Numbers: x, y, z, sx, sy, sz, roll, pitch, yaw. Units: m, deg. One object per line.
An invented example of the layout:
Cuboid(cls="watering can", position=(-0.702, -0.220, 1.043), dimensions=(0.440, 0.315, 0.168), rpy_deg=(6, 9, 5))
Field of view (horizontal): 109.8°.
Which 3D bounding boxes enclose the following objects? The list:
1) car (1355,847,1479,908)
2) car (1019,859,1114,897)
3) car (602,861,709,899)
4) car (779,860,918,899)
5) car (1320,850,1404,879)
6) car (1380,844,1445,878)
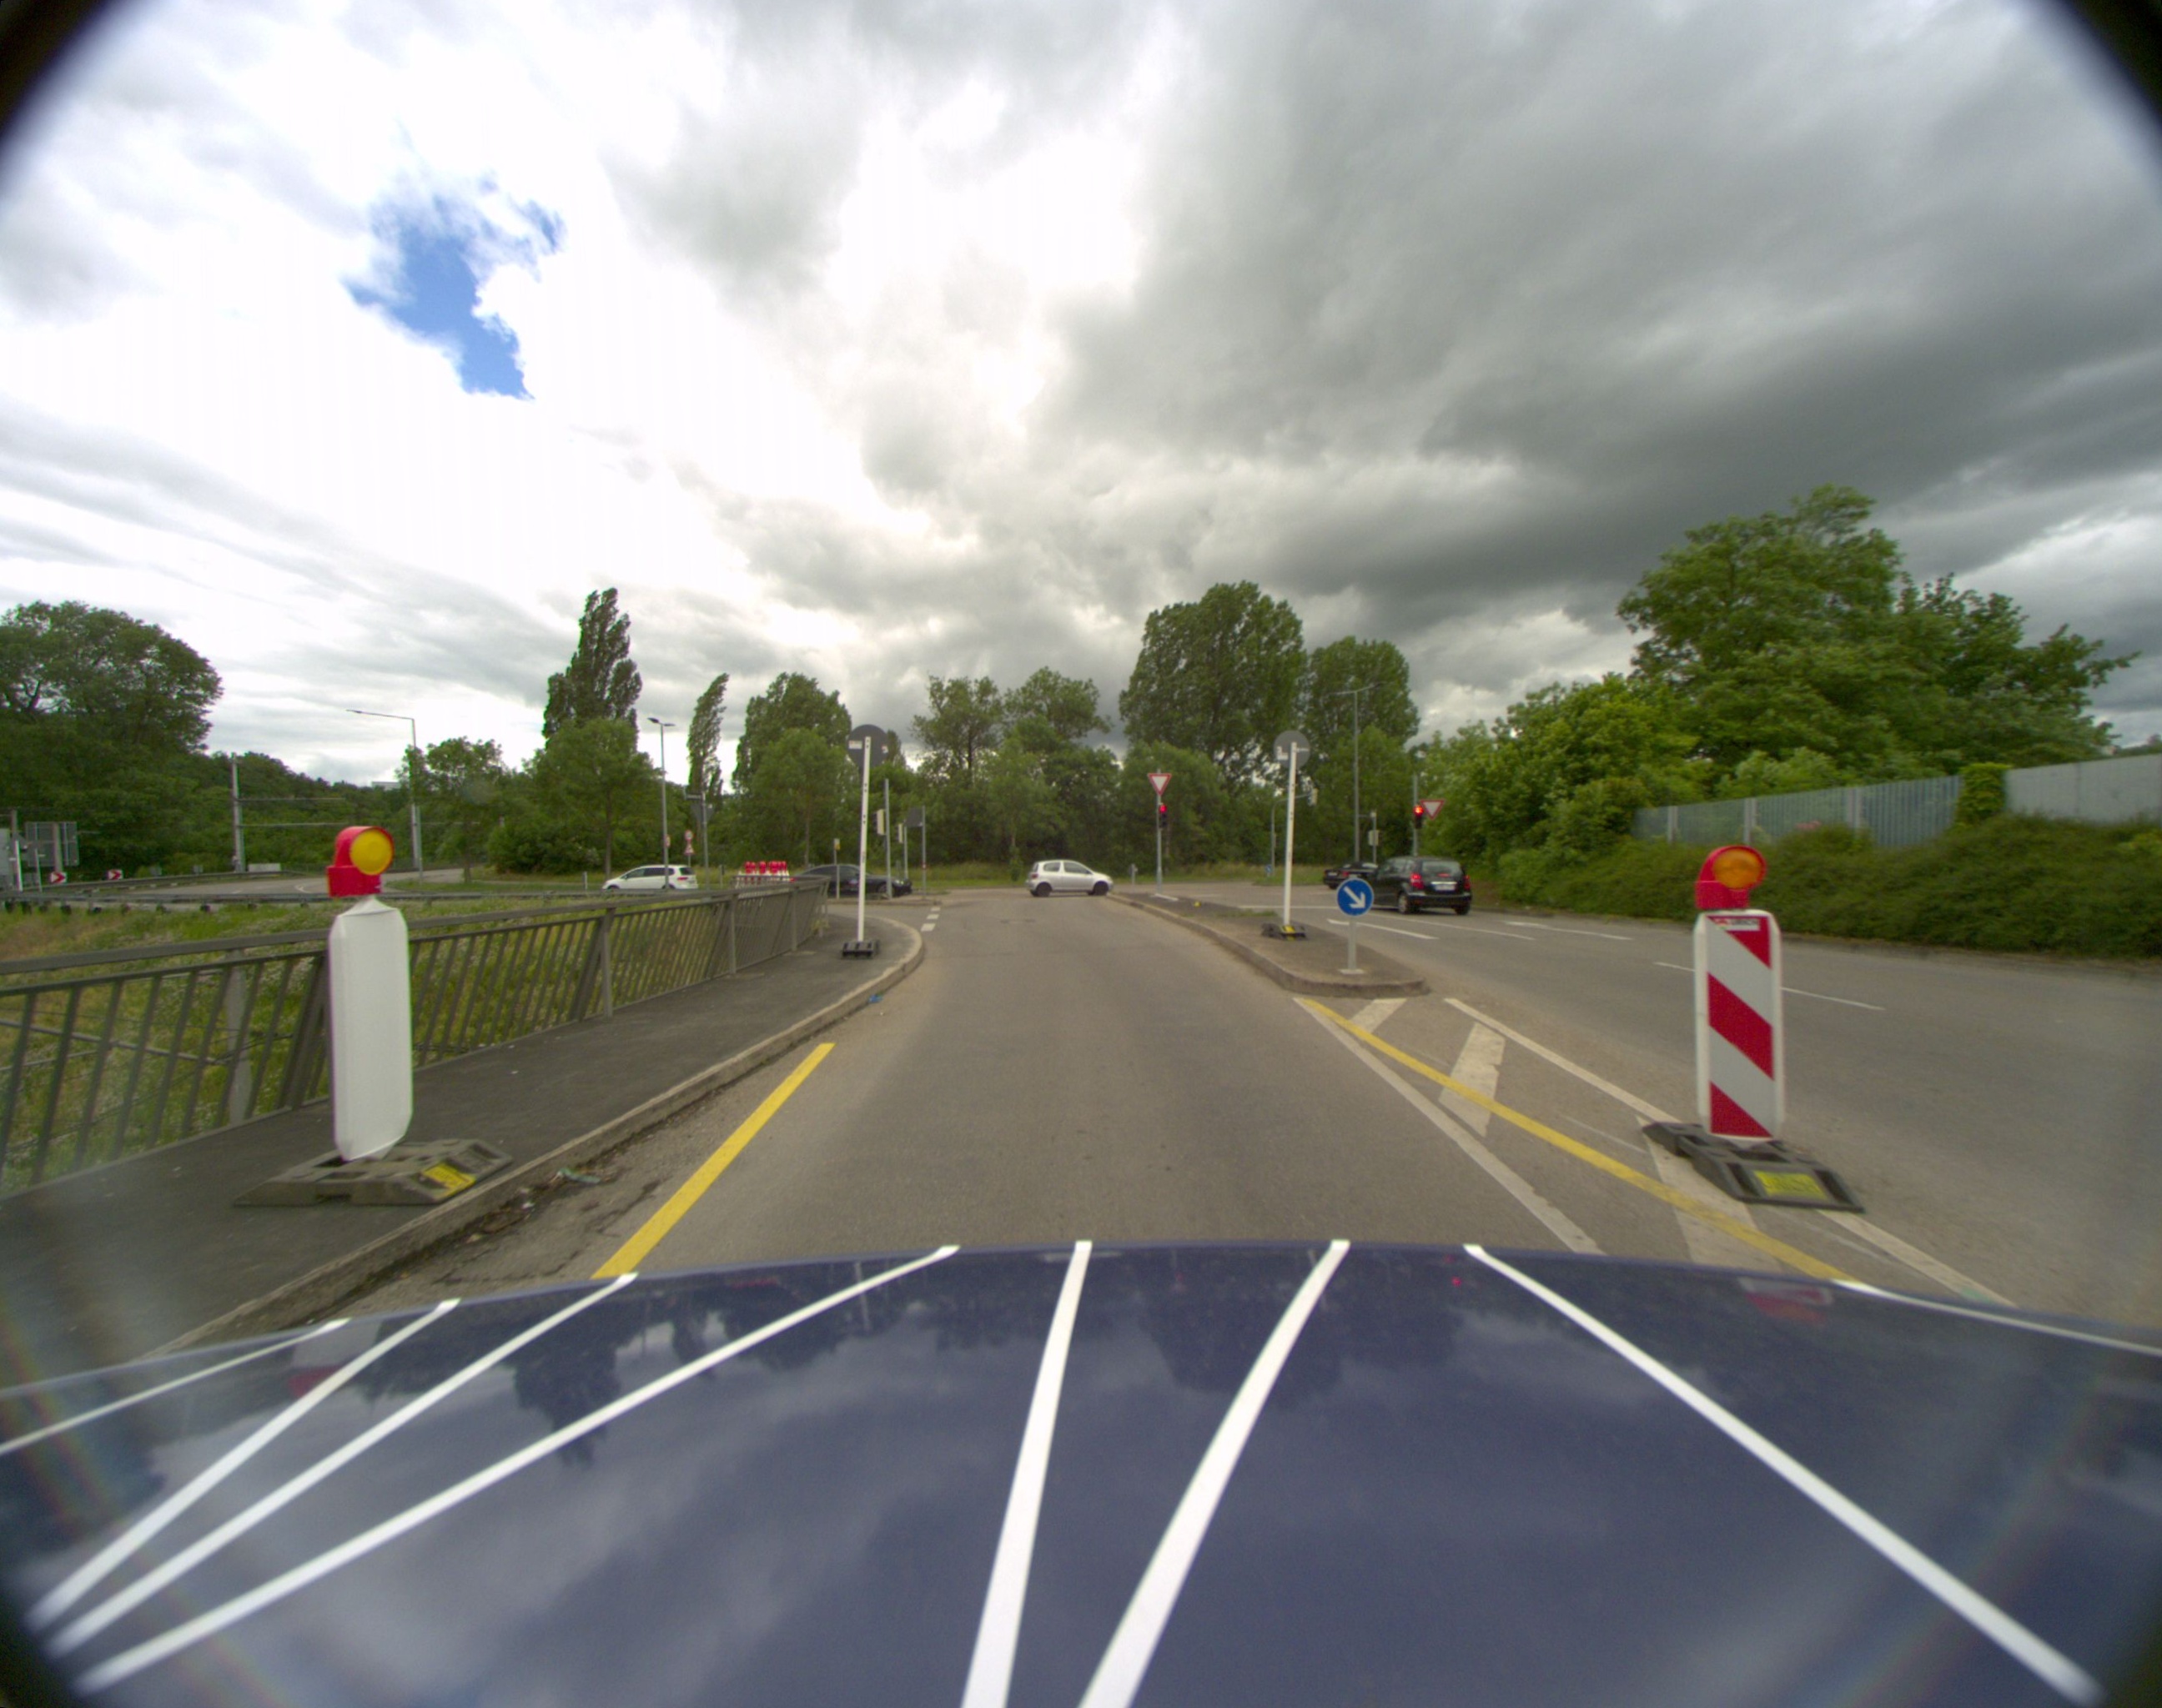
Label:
Cuboid(cls="car", position=(9.377, 0.625, 21.534), dimensions=(1.642, 1.543, 3.787), rpy_deg=(1, 0, -3))
Cuboid(cls="car", position=(-0.628, 0.964, 31.484), dimensions=(3.630, 1.461, 1.671), rpy_deg=(-1, 0, -15))
Cuboid(cls="car", position=(-21.997, 1.333, 39.410), dimensions=(4.319, 1.749, 2.084), rpy_deg=(-2, -2, -1))
Cuboid(cls="car", position=(-9.066, 0.991, 29.958), dimensions=(4.963, 1.468, 1.878), rpy_deg=(0, -1, -7))
Cuboid(cls="car", position=(13.893, 0.511, 37.544), dimensions=(4.090, 1.360, 1.565), rpy_deg=(-1, 0, -29))
Cuboid(cls="car", position=(22.730, 0.428, 52.082), dimensions=(4.328, 1.984, 1.930), rpy_deg=(-4, 4, -30))
